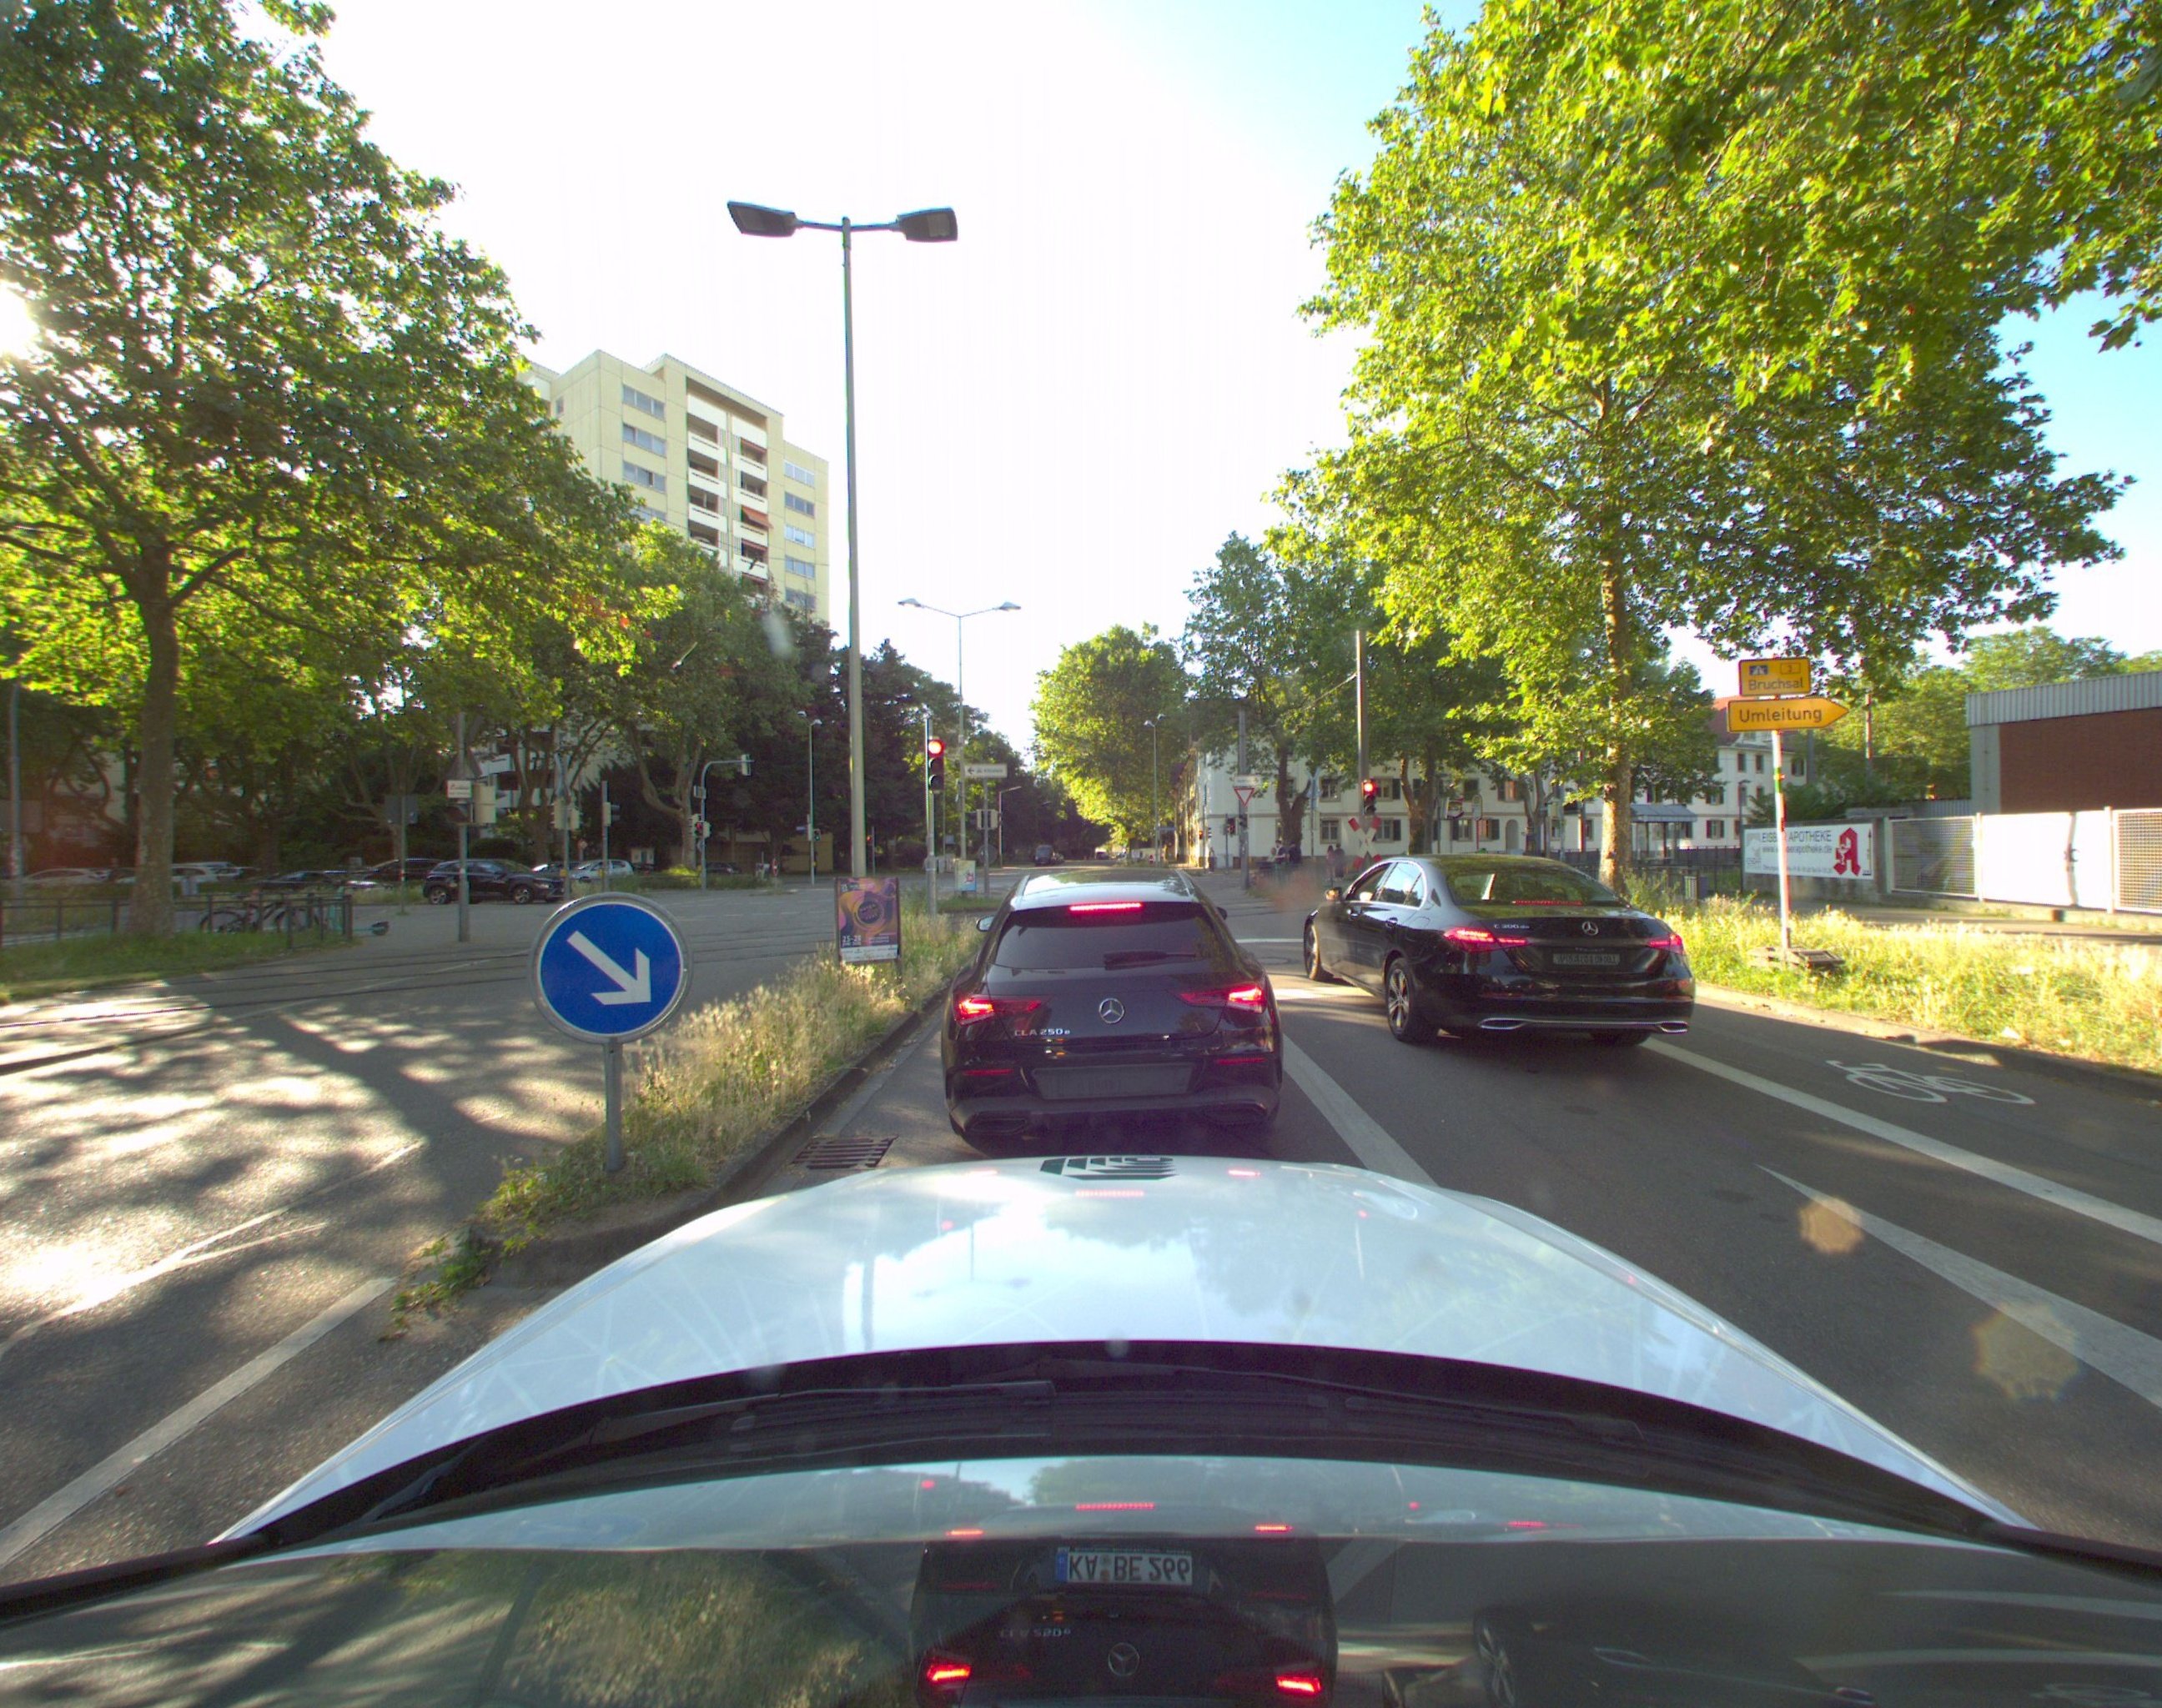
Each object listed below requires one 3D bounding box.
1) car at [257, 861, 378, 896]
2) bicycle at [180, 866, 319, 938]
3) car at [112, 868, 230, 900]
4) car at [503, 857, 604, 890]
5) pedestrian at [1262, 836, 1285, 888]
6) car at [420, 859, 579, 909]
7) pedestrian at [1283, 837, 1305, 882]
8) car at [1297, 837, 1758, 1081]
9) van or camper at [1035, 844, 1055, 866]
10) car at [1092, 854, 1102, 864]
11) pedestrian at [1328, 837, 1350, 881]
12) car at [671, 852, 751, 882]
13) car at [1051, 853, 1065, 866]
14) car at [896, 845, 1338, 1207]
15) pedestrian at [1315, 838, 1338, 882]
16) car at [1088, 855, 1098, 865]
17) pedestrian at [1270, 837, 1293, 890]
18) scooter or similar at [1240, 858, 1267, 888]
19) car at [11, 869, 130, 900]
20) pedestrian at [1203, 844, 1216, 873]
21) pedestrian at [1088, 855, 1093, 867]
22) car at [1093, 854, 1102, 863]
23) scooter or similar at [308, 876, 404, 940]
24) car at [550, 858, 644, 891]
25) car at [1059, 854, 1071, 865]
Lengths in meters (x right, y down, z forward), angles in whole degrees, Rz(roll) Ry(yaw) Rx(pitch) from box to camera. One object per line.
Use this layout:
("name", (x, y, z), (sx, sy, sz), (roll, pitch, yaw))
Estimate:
("car", (-37.415, 1.151, 40.009), (1.716, 1.596, 4.025), (-1, -1, 32))
("bicycle", (-15.955, 0.896, 15.680), (1.845, 1.307, 0.380), (0, -1, -26))
("car", (-49.161, 1.594, 44.082), (1.716, 1.596, 4.025), (-1, -1, 32))
("car", (-27.221, 0.980, 42.172), (1.716, 1.596, 4.025), (-1, -1, 32))
("pedestrian", (7.286, 0.299, 30.868), (0.681, 1.918, 0.707), (0, -1, -2))
("car", (-19.385, 0.967, 27.297), (3.981, 1.596, 1.735), (0, -1, -5))
("pedestrian", (9.183, 0.246, 35.092), (0.703, 1.918, 0.838), (0, -1, -2))
("car", (3.401, 0.627, 7.352), (1.882, 1.490, 4.384), (0, 2, 2))
("van or camper", (-4.418, 0.136, 100.061), (1.986, 2.541, 4.653), (0, -1, 2))
("car", (2.917, 0.988, 150.551), (1.727, 1.765, 4.020), (0, -1, 2))
("pedestrian", (11.571, 0.232, 36.549), (0.703, 1.918, 0.838), (0, -1, -2))
("car", (-22.641, 0.804, 49.935), (3.963, 1.774, 2.005), (-1, -1, 9))
("car", (-3.259, 0.767, 117.515), (1.727, 1.765, 4.087), (0, -1, 2))
("car", (0.262, 0.714, 5.488), (1.881, 1.450, 4.004), (0, 2, 3))
("pedestrian", (10.721, 0.260, 35.568), (0.703, 1.918, 0.838), (0, -1, -2))
("car", (2.105, 1.016, 145.746), (1.727, 1.765, 4.020), (0, -1, 2))
("pedestrian", (7.411, 0.345, 30.092), (0.680, 1.918, 0.707), (0, -1, 0))
("scooter or similar", (6.445, 0.718, 30.474), (0.826, 1.104, 0.808), (0, -1, -4))
("car", (-57.102, 1.673, 46.086), (1.716, 1.596, 4.025), (-1, -1, 32))
("pedestrian", (8.615, 0.301, 54.670), (0.703, 1.918, 0.838), (0, -1, -2))
("pedestrian", (1.539, 1.059, 130.210), (0.704, 1.918, 0.837), (0, -1, -8))
("car", (3.248, 0.910, 158.633), (1.727, 1.765, 4.020), (0, -1, 2))
("scooter or similar", (-15.095, 1.098, 16.993), (0.408, 1.239, 1.450), (-1, -1, 40))
("car", (-24.925, 1.031, 42.038), (1.716, 1.596, 3.831), (-1, -1, 32))
("car", (-2.470, 0.835, 126.686), (1.727, 1.765, 3.972), (0, -1, 2))
